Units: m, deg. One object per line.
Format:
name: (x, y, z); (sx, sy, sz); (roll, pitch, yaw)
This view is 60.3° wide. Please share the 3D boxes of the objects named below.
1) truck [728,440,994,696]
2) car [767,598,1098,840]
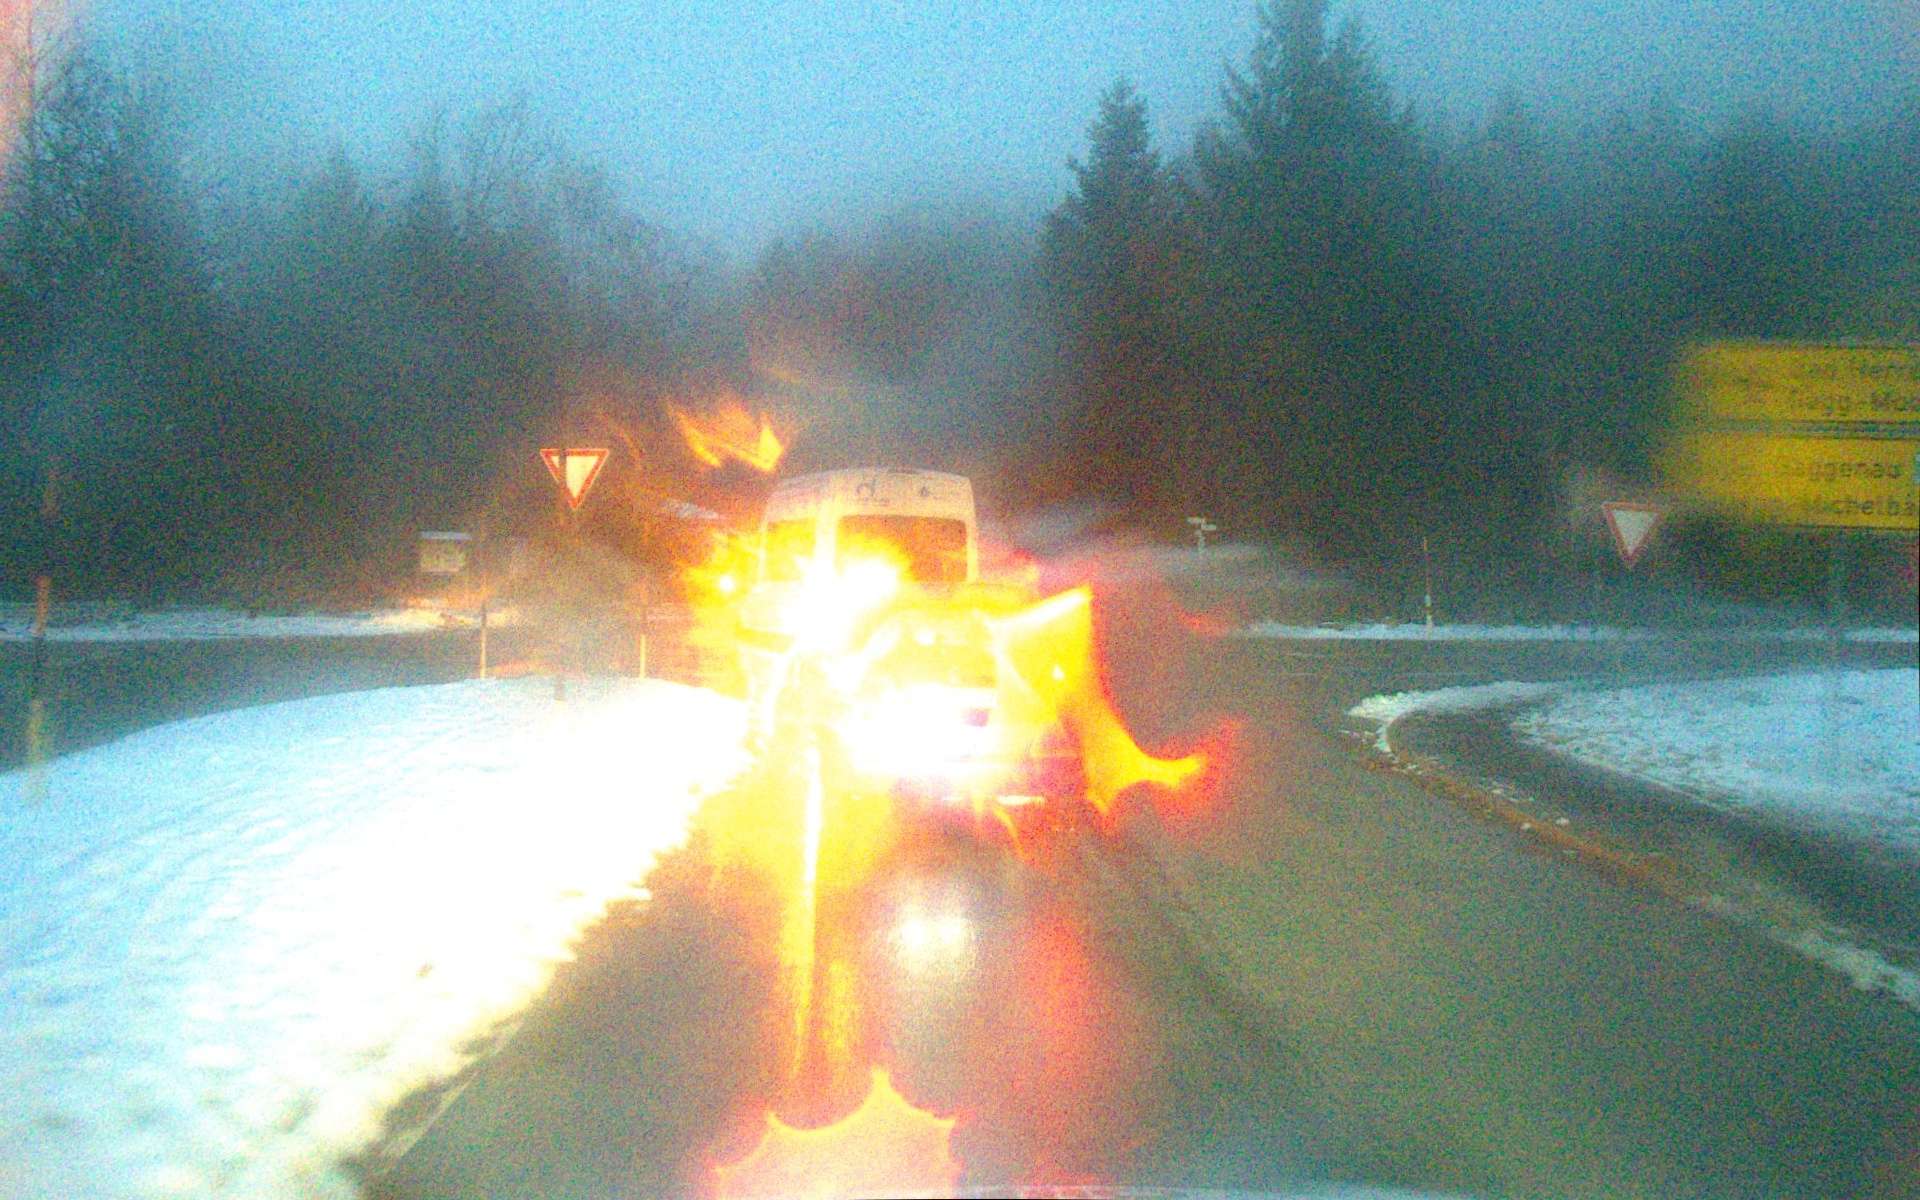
truck: (-1.430, -0.345, 20.976); (2.044, 2.794, 5.291); (2, 0, -18)
car: (-0.215, 0.687, 11.531); (1.883, 1.299, 3.999); (1, 1, -2)
